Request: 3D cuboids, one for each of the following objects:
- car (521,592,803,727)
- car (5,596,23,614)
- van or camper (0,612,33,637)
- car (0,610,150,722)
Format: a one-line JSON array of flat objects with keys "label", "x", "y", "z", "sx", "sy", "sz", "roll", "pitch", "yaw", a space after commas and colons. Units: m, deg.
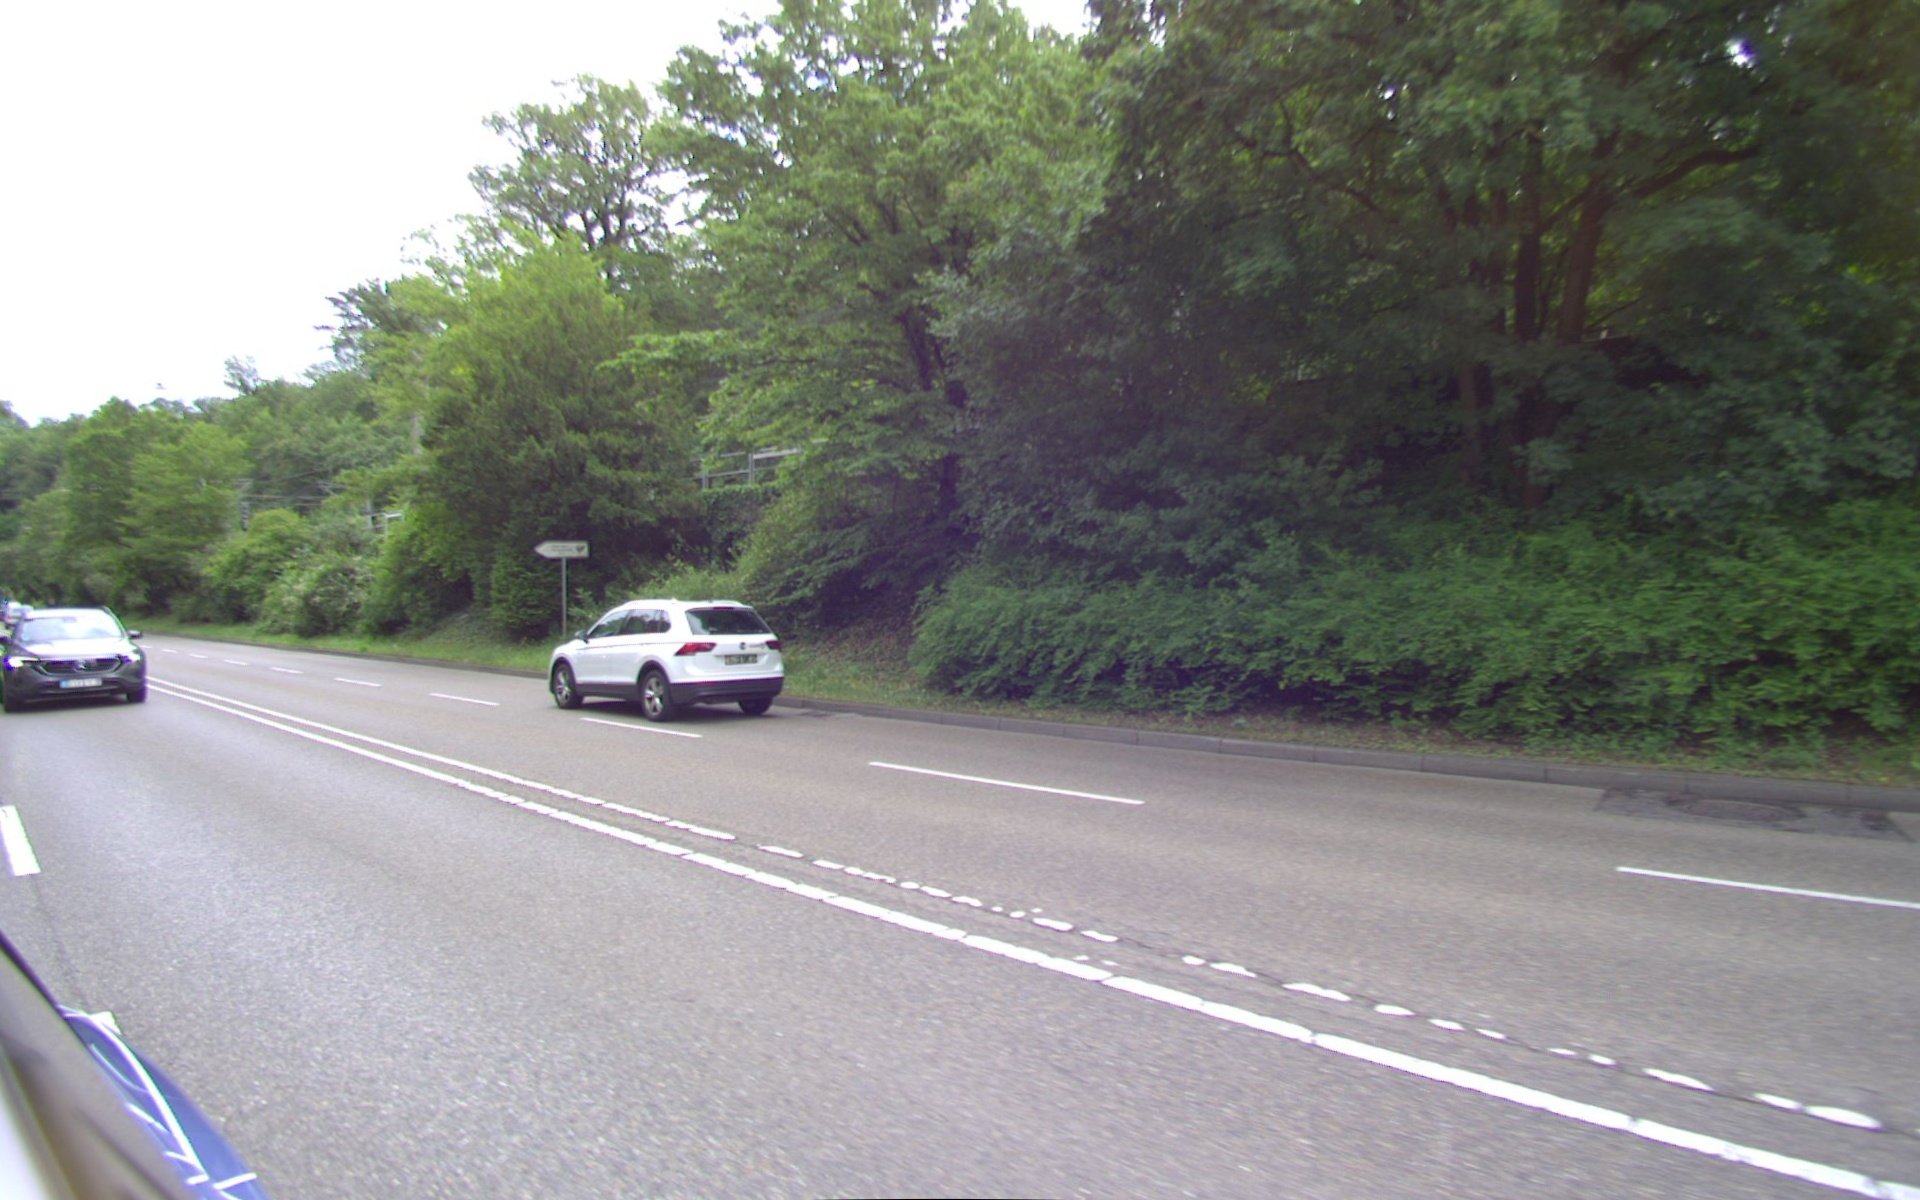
[{"label": "car", "x": -4.499, "y": 0.807, "z": 14.952, "sx": 4.432, "sy": 1.707, "sz": 1.837, "roll": -1, "pitch": -2, "yaw": 40}, {"label": "car", "x": -139.593, "y": 0.702, "z": 149.318, "sx": 4.917, "sy": 2.575, "sz": 1.865, "roll": 0, "pitch": 0, "yaw": 45}, {"label": "van or camper", "x": -80.168, "y": 2.071, "z": 85.792, "sx": 5.371, "sy": 2.029, "sz": 1.971, "roll": -1, "pitch": -3, "yaw": 45}, {"label": "car", "x": -15.576, "y": 1.034, "z": 17.579, "sx": 4.194, "sy": 1.675, "sz": 1.846, "roll": -1, "pitch": 0, "yaw": 44}]
